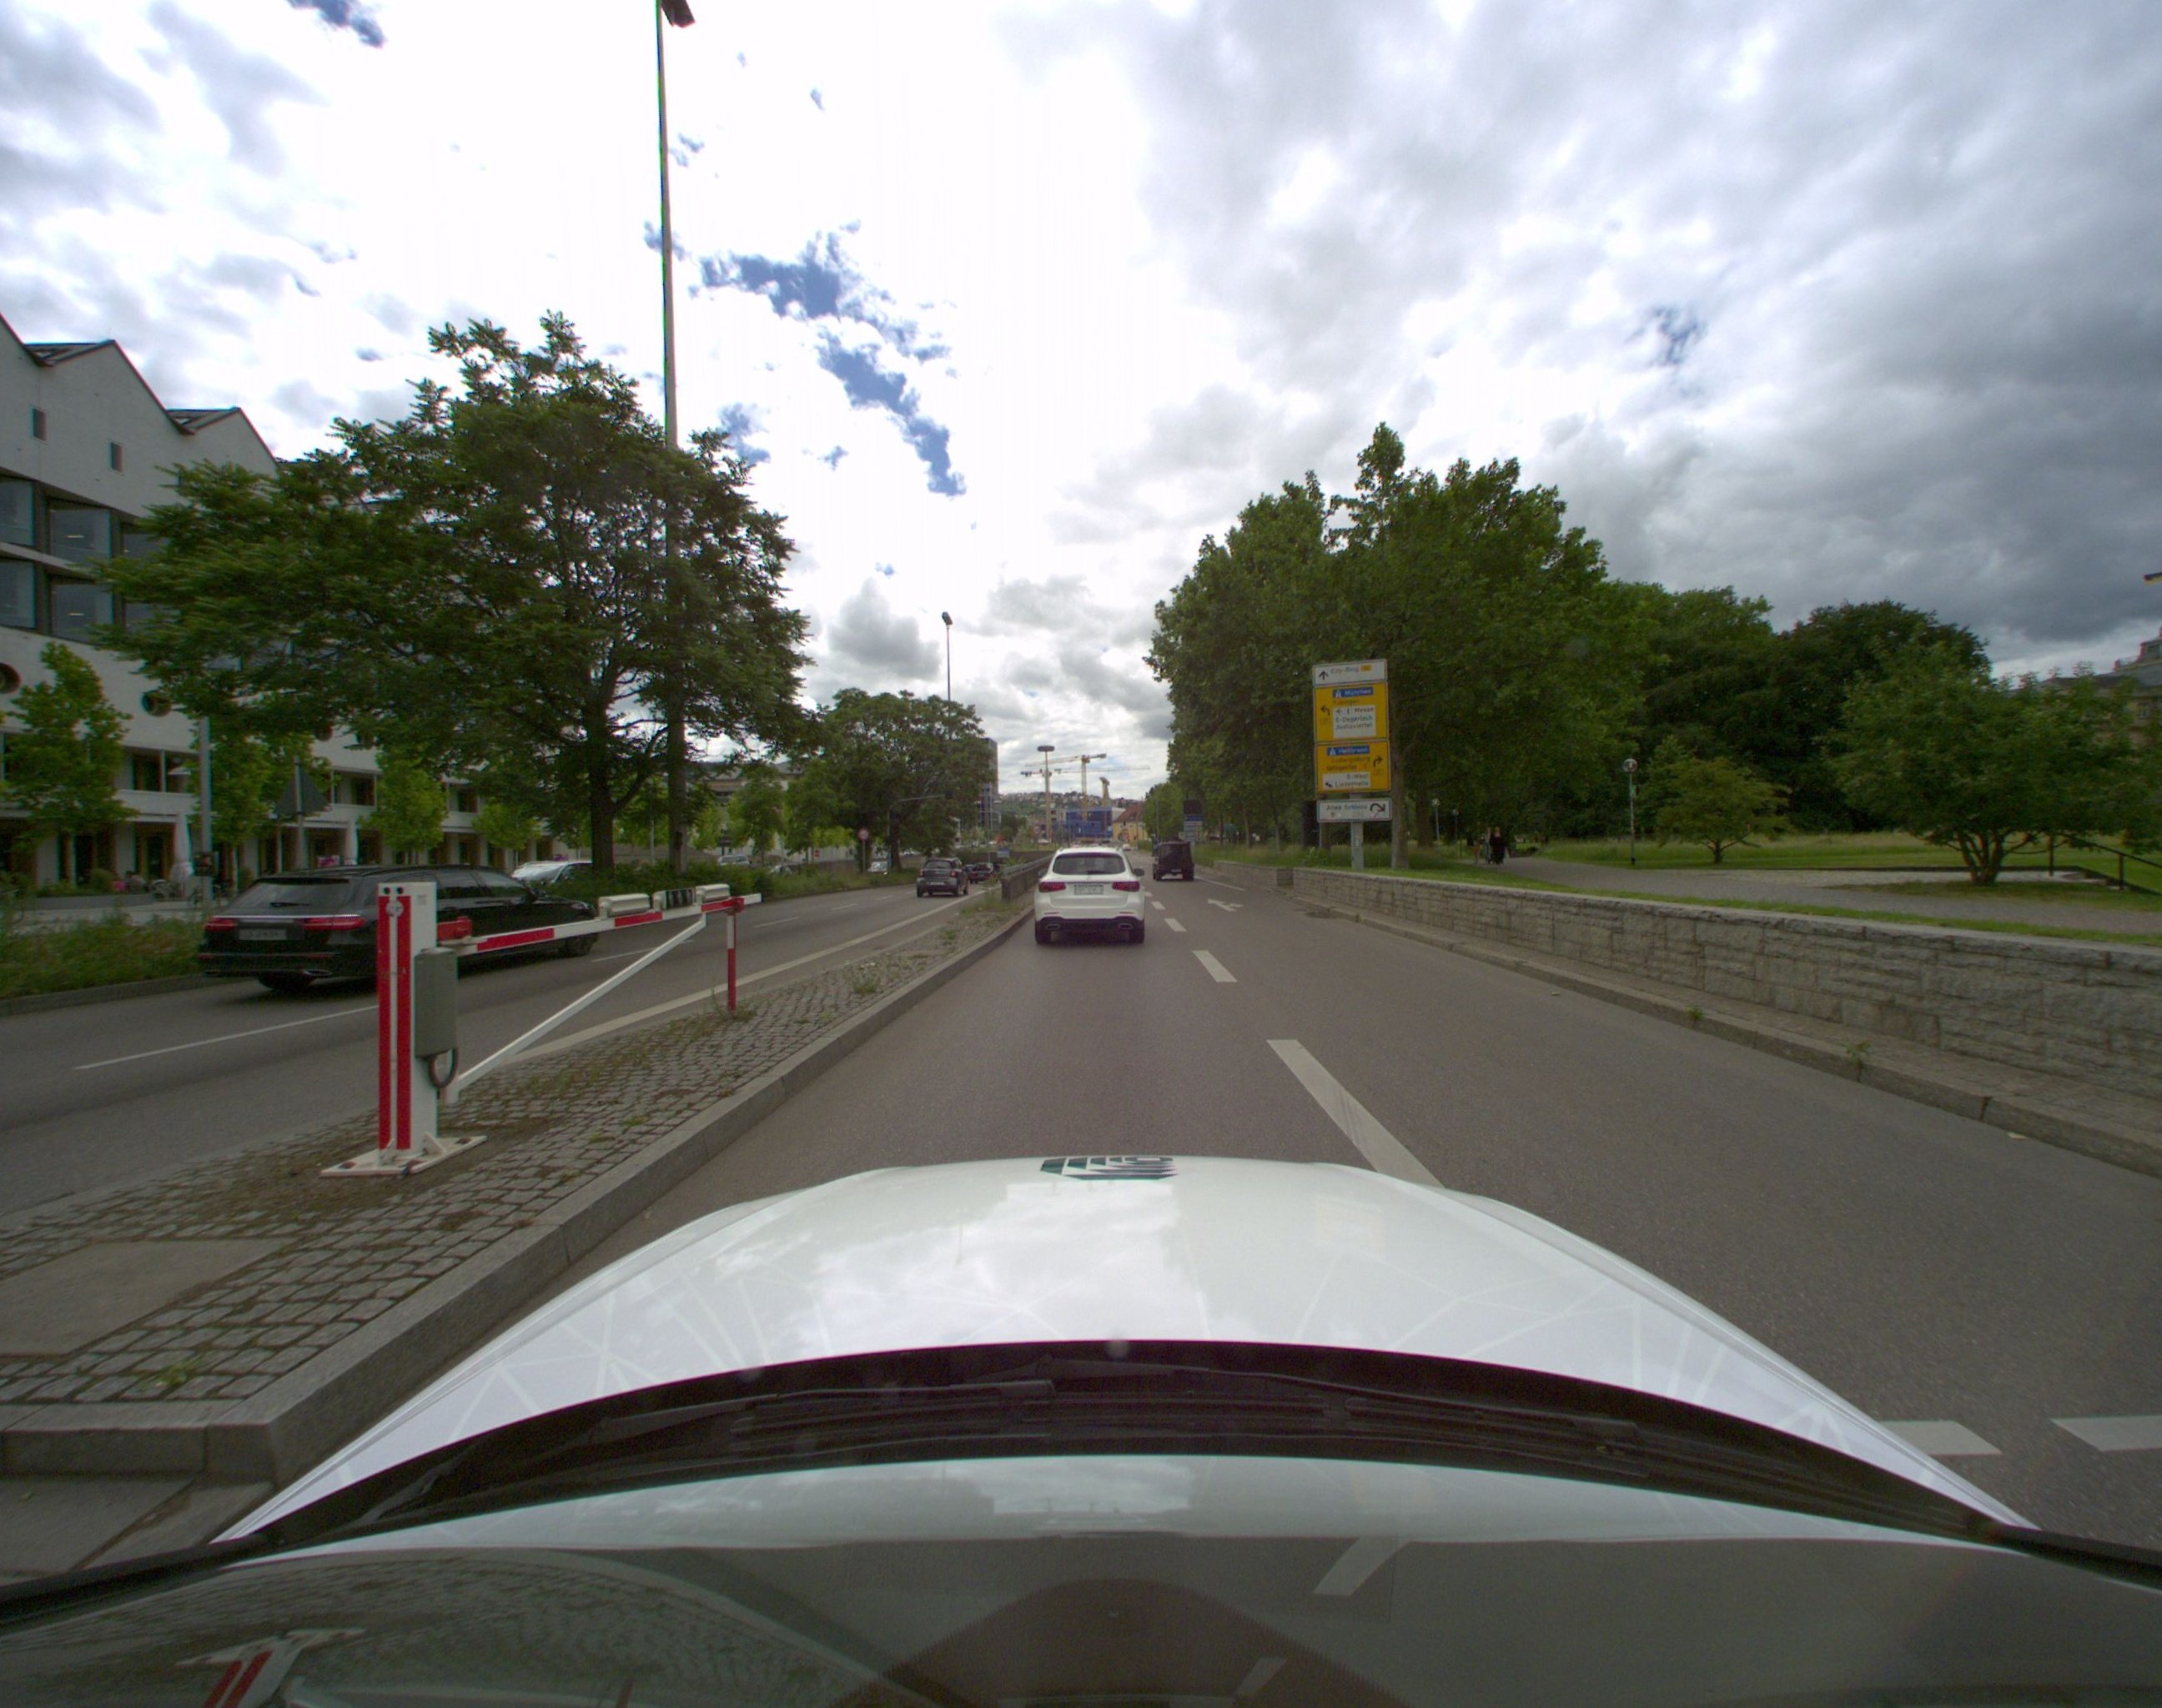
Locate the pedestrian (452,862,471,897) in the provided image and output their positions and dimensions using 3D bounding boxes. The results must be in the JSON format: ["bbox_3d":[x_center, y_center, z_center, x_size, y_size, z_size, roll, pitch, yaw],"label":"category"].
[{"bbox_3d":[-36.994,1.540,48.645,0.714,2.014,0.733,-1,-4,-24],"label":"pedestrian"}]

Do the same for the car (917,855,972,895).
[{"bbox_3d":[-5.399,0.812,32.604,1.622,1.509,3.539,0,-1,0],"label":"car"}]

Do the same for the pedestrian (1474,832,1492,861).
[{"bbox_3d":[18.768,-0.347,38.037,0.580,1.325,0.542,1,-1,0],"label":"pedestrian"}]

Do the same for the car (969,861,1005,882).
[{"bbox_3d":[-6.292,1.171,55.037,1.712,1.292,4.003,1,0,3],"label":"car"}]

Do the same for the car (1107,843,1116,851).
[{"bbox_3d":[6.460,-1.392,171.598,1.714,1.584,3.997,1,0,-2],"label":"car"}]

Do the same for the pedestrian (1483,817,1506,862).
[{"bbox_3d":[18.752,-0.637,36.910,0.568,2.014,0.932,1,-1,1],"label":"pedestrian"}]

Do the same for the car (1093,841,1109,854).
[{"bbox_3d":[2.678,-0.851,108.659,1.987,1.662,3.998,1,-1,-1],"label":"car"}]

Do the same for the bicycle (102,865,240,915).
[{"bbox_3d":[-33.622,1.310,30.131,3.603,1.684,1.182,-2,0,-2],"label":"bicycle"}]

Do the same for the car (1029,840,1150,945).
[{"bbox_3d":[0.114,0.631,15.000,1.935,1.684,3.998,0,-1,-1],"label":"car"}]

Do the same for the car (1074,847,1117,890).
[{"bbox_3d":[0.585,0.600,33.898,1.666,1.628,4.000,1,-1,1],"label":"car"}]

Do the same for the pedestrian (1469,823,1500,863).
[{"bbox_3d":[18.880,-0.511,38.106,0.992,1.836,1.031,1,-1,5],"label":"pedestrian"}]

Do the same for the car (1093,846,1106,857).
[{"bbox_3d":[3.068,-0.389,136.581,1.987,1.781,3.998,1,-1,-1],"label":"car"}]

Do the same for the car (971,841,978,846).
[{"bbox_3d":[-29.471,-2.848,226.197,1.829,1.360,3.861,1,-1,-6],"label":"car"}]

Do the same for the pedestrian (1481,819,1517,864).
[{"bbox_3d":[16.443,-0.479,32.046,0.893,1.732,0.969,1,0,0],"label":"pedestrian"}]

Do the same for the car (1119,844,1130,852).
[{"bbox_3d":[9.241,-1.277,173.385,1.990,1.618,3.993,1,-1,-5],"label":"car"}]

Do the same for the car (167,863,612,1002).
[{"bbox_3d":[-8.708,0.854,11.048,1.806,1.460,4.863,0,-1,1],"label":"car"}]

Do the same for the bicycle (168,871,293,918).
[{"bbox_3d":[-33.936,1.604,32.554,3.603,1.684,1.182,-2,0,-2],"label":"bicycle"}]

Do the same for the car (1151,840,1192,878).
[{"bbox_3d":[4.750,0.283,43.395,1.969,1.893,4.712,1,-1,4],"label":"car"}]

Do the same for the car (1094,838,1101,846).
[{"bbox_3d":[4.888,-3.472,238.674,1.794,2.014,3.998,1,-1,-1],"label":"car"}]

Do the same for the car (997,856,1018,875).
[{"bbox_3d":[-6.967,1.069,77.075,1.714,1.678,3.997,1,0,-2],"label":"car"}]

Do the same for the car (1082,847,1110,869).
[{"bbox_3d":[1.085,0.265,59.700,1.917,1.602,3.999,0,0,-1],"label":"car"}]

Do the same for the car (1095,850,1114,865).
[{"bbox_3d":[2.484,0.391,88.296,1.917,1.602,3.999,0,0,-1],"label":"car"}]

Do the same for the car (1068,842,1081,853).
[{"bbox_3d":[-1.048,-1.097,135.335,1.986,1.757,4.001,1,-1,1],"label":"car"}]

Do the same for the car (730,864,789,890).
[{"bbox_3d":[-19.094,1.360,48.563,1.749,1.462,4.001,1,-1,2],"label":"car"}]

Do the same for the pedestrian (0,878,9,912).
[{"bbox_3d":[-42.909,1.641,32.097,0.517,1.327,0.565,-2,-1,0],"label":"pedestrian"}]

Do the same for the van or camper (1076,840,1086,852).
[{"bbox_3d":[-0.011,-1.631,165.713,1.917,2.320,3.998,0,-2,-1],"label":"van or camper"}]
